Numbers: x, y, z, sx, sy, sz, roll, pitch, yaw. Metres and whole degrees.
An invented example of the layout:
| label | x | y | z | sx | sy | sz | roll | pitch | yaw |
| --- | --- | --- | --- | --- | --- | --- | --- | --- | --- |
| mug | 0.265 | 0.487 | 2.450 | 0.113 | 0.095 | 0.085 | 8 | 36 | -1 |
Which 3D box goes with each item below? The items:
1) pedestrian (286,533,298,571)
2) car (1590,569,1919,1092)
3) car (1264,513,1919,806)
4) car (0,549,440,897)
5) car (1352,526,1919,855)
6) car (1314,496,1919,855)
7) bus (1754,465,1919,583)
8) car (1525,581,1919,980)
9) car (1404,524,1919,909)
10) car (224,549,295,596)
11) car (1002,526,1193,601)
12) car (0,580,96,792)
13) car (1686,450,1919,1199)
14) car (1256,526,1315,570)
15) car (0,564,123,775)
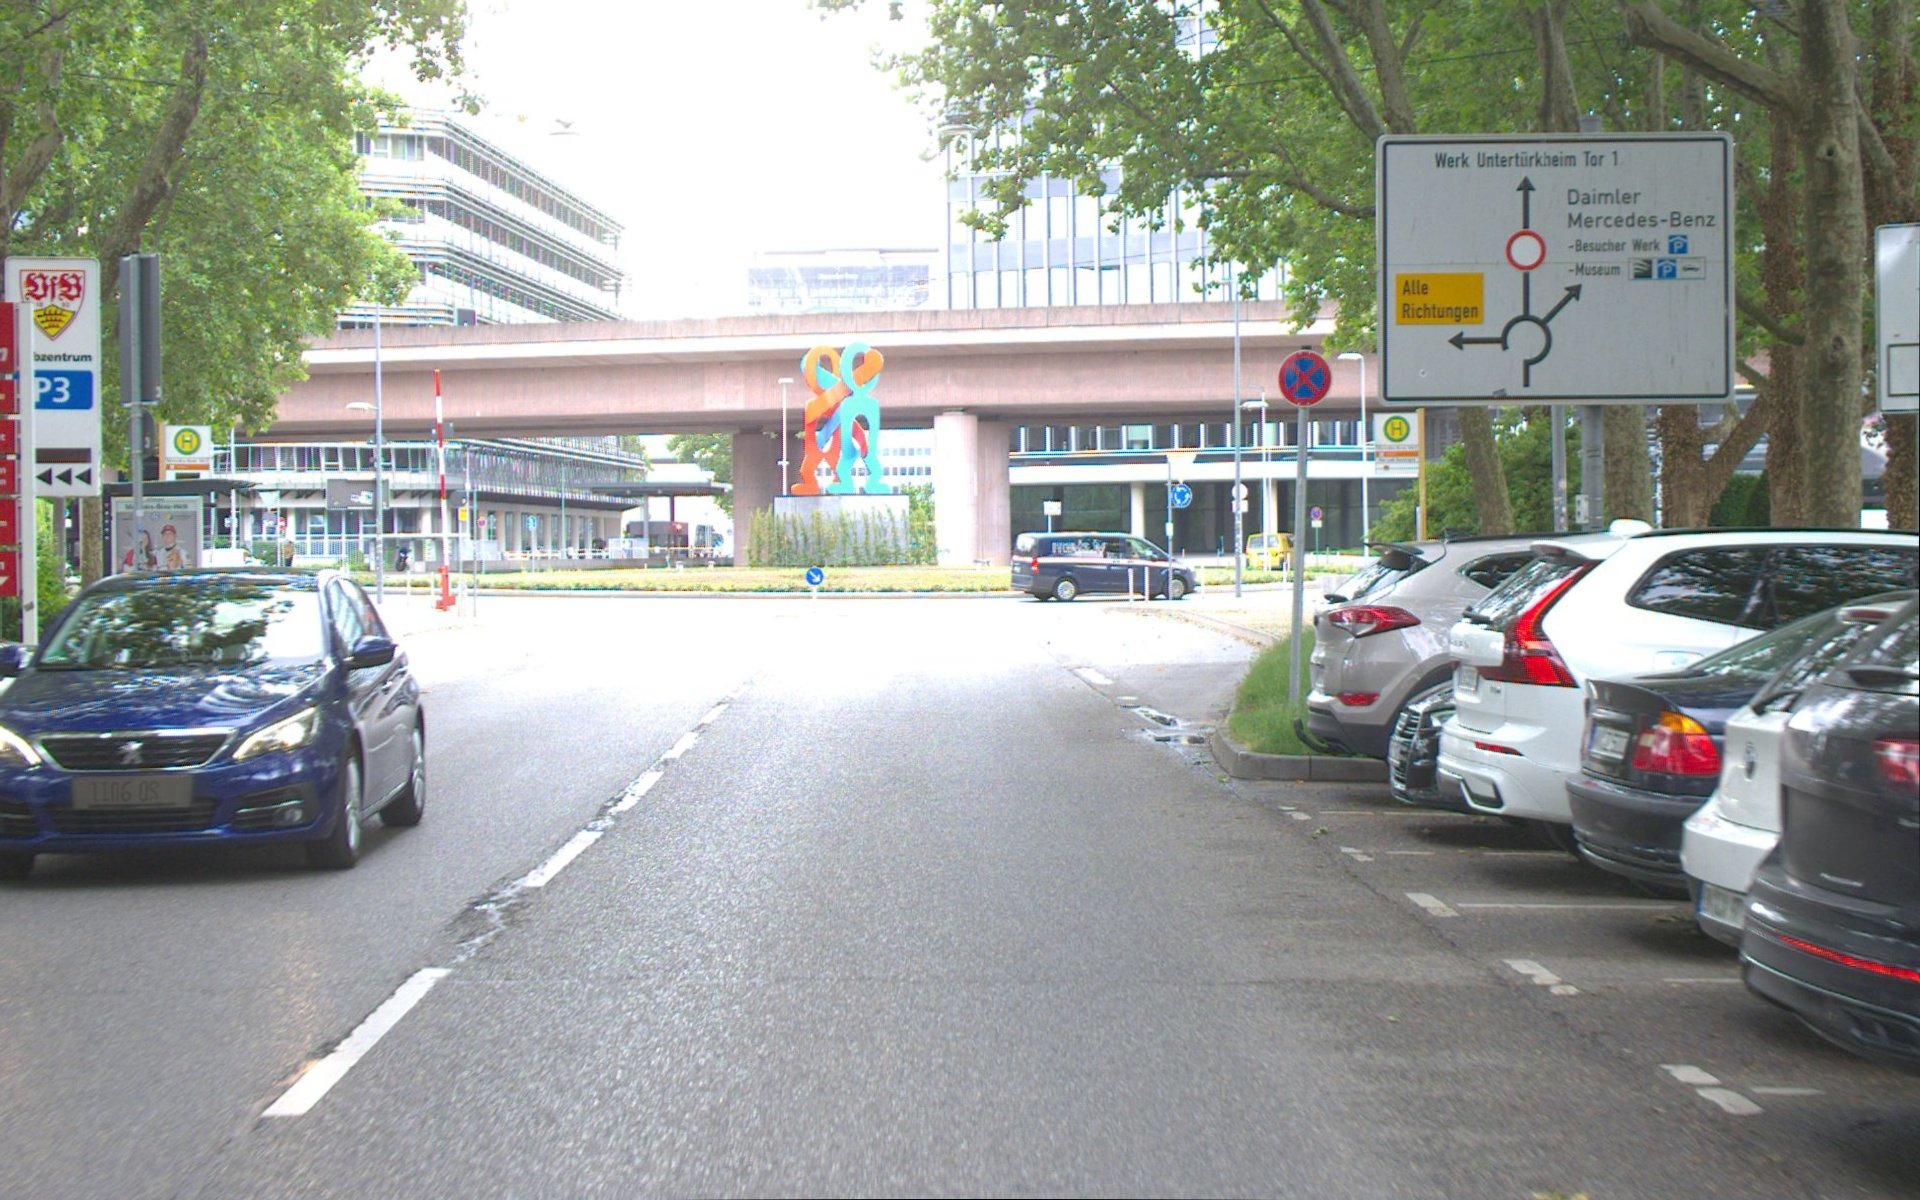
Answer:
| label | x | y | z | sx | sy | sz | roll | pitch | yaw |
| --- | --- | --- | --- | --- | --- | --- | --- | --- | --- |
| pedestrian | -35.769 | -2.578 | 184.083 | 0.588 | 2.007 | 0.599 | 0 | 0 | -12 |
| car | 4.382 | 0.683 | 10.873 | 4.346 | 1.451 | 1.950 | 1 | 2 | -2 |
| car | 4.119 | 0.327 | 20.857 | 4.346 | 1.628 | 1.926 | 1 | 2 | 0 |
| car | -3.810 | 0.534 | 17.401 | 1.842 | 1.504 | 4.015 | -2 | 1 | -2 |
| car | 4.381 | 0.451 | 18.241 | 4.346 | 1.599 | 1.926 | 1 | 2 | 0 |
| car | 4.254 | 0.410 | 20.725 | 3.987 | 2.007 | 2.000 | 1 | 2 | 0 |
| bus | 32.660 | -2.541 | 117.192 | 11.044 | 3.921 | 2.759 | 0 | 1 | -18 |
| car | 4.242 | 0.686 | 13.366 | 3.730 | 1.398 | 1.776 | 2 | 1 | -2 |
| car | 4.367 | 0.504 | 15.884 | 4.346 | 1.628 | 1.926 | 1 | 2 | 0 |
| car | -23.246 | -0.921 | 114.189 | 1.900 | 1.448 | 4.816 | -2 | 1 | -7 |
| car | 3.766 | -0.997 | 94.488 | 4.766 | 2.007 | 2.284 | 0 | 1 | -16 |
| car | -8.183 | 0.548 | 23.584 | 3.994 | 1.380 | 1.911 | 0 | 1 | 3 |
| car | 4.205 | 0.578 | 8.477 | 4.346 | 1.755 | 1.926 | 1 | 1 | -2 |
| car | 15.073 | -2.409 | 159.018 | 1.995 | 2.007 | 3.997 | 0 | 1 | 17 |
| car | -8.554 | 0.489 | 25.992 | 3.994 | 1.535 | 1.805 | 0 | 1 | 1 |
